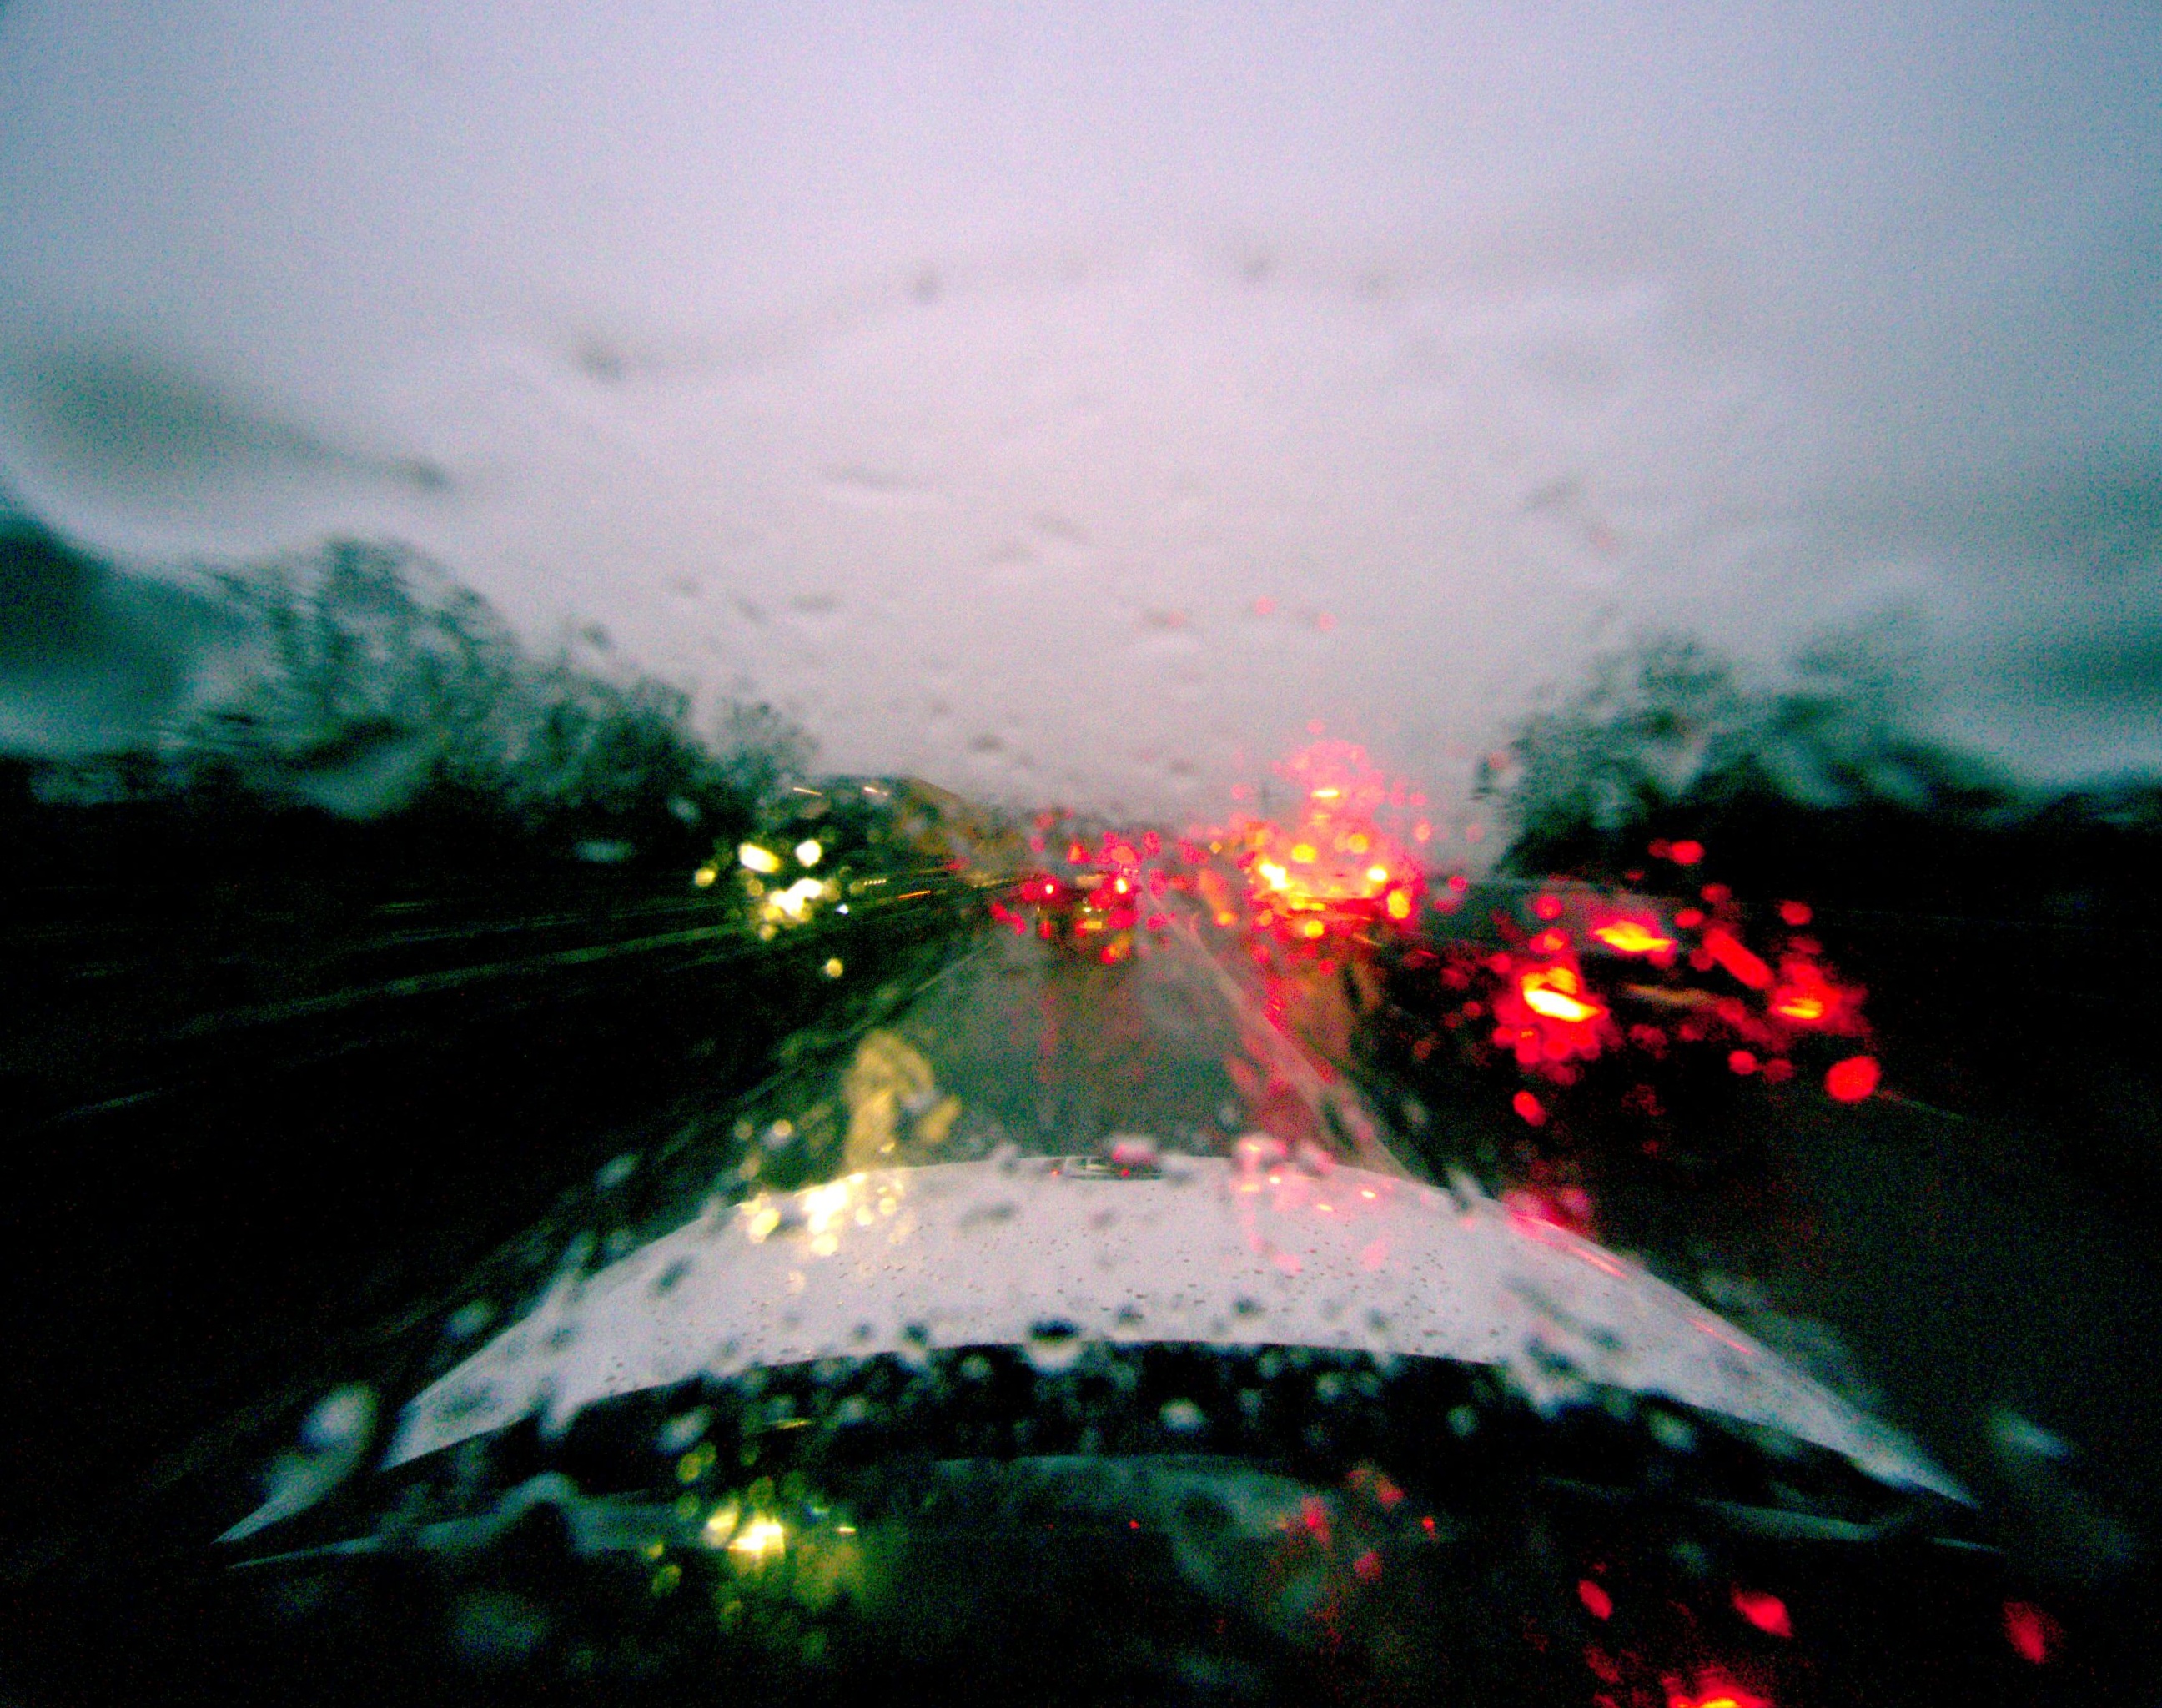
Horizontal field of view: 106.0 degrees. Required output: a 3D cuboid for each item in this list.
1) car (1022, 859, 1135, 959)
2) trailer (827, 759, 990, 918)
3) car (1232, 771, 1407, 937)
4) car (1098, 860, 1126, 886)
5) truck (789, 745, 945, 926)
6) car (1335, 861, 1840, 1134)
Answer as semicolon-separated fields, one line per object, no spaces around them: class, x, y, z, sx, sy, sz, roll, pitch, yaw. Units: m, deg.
car;0.094;0.891;14.641;1.722;1.533;4.046;-1;-1;4
trailer;-5.725;-0.346;30.198;2.617;4.585;13.332;0;-1;3
car;4.861;0.039;17.795;2.272;2.966;6.395;0;-1;3
car;2.349;1.412;62.125;1.986;1.814;4.001;2;1;1
truck;-5.989;-0.463;23.912;2.585;4.580;6.361;-1;0;2
car;3.520;0.820;6.775;1.728;1.414;4.383;2;0;4
